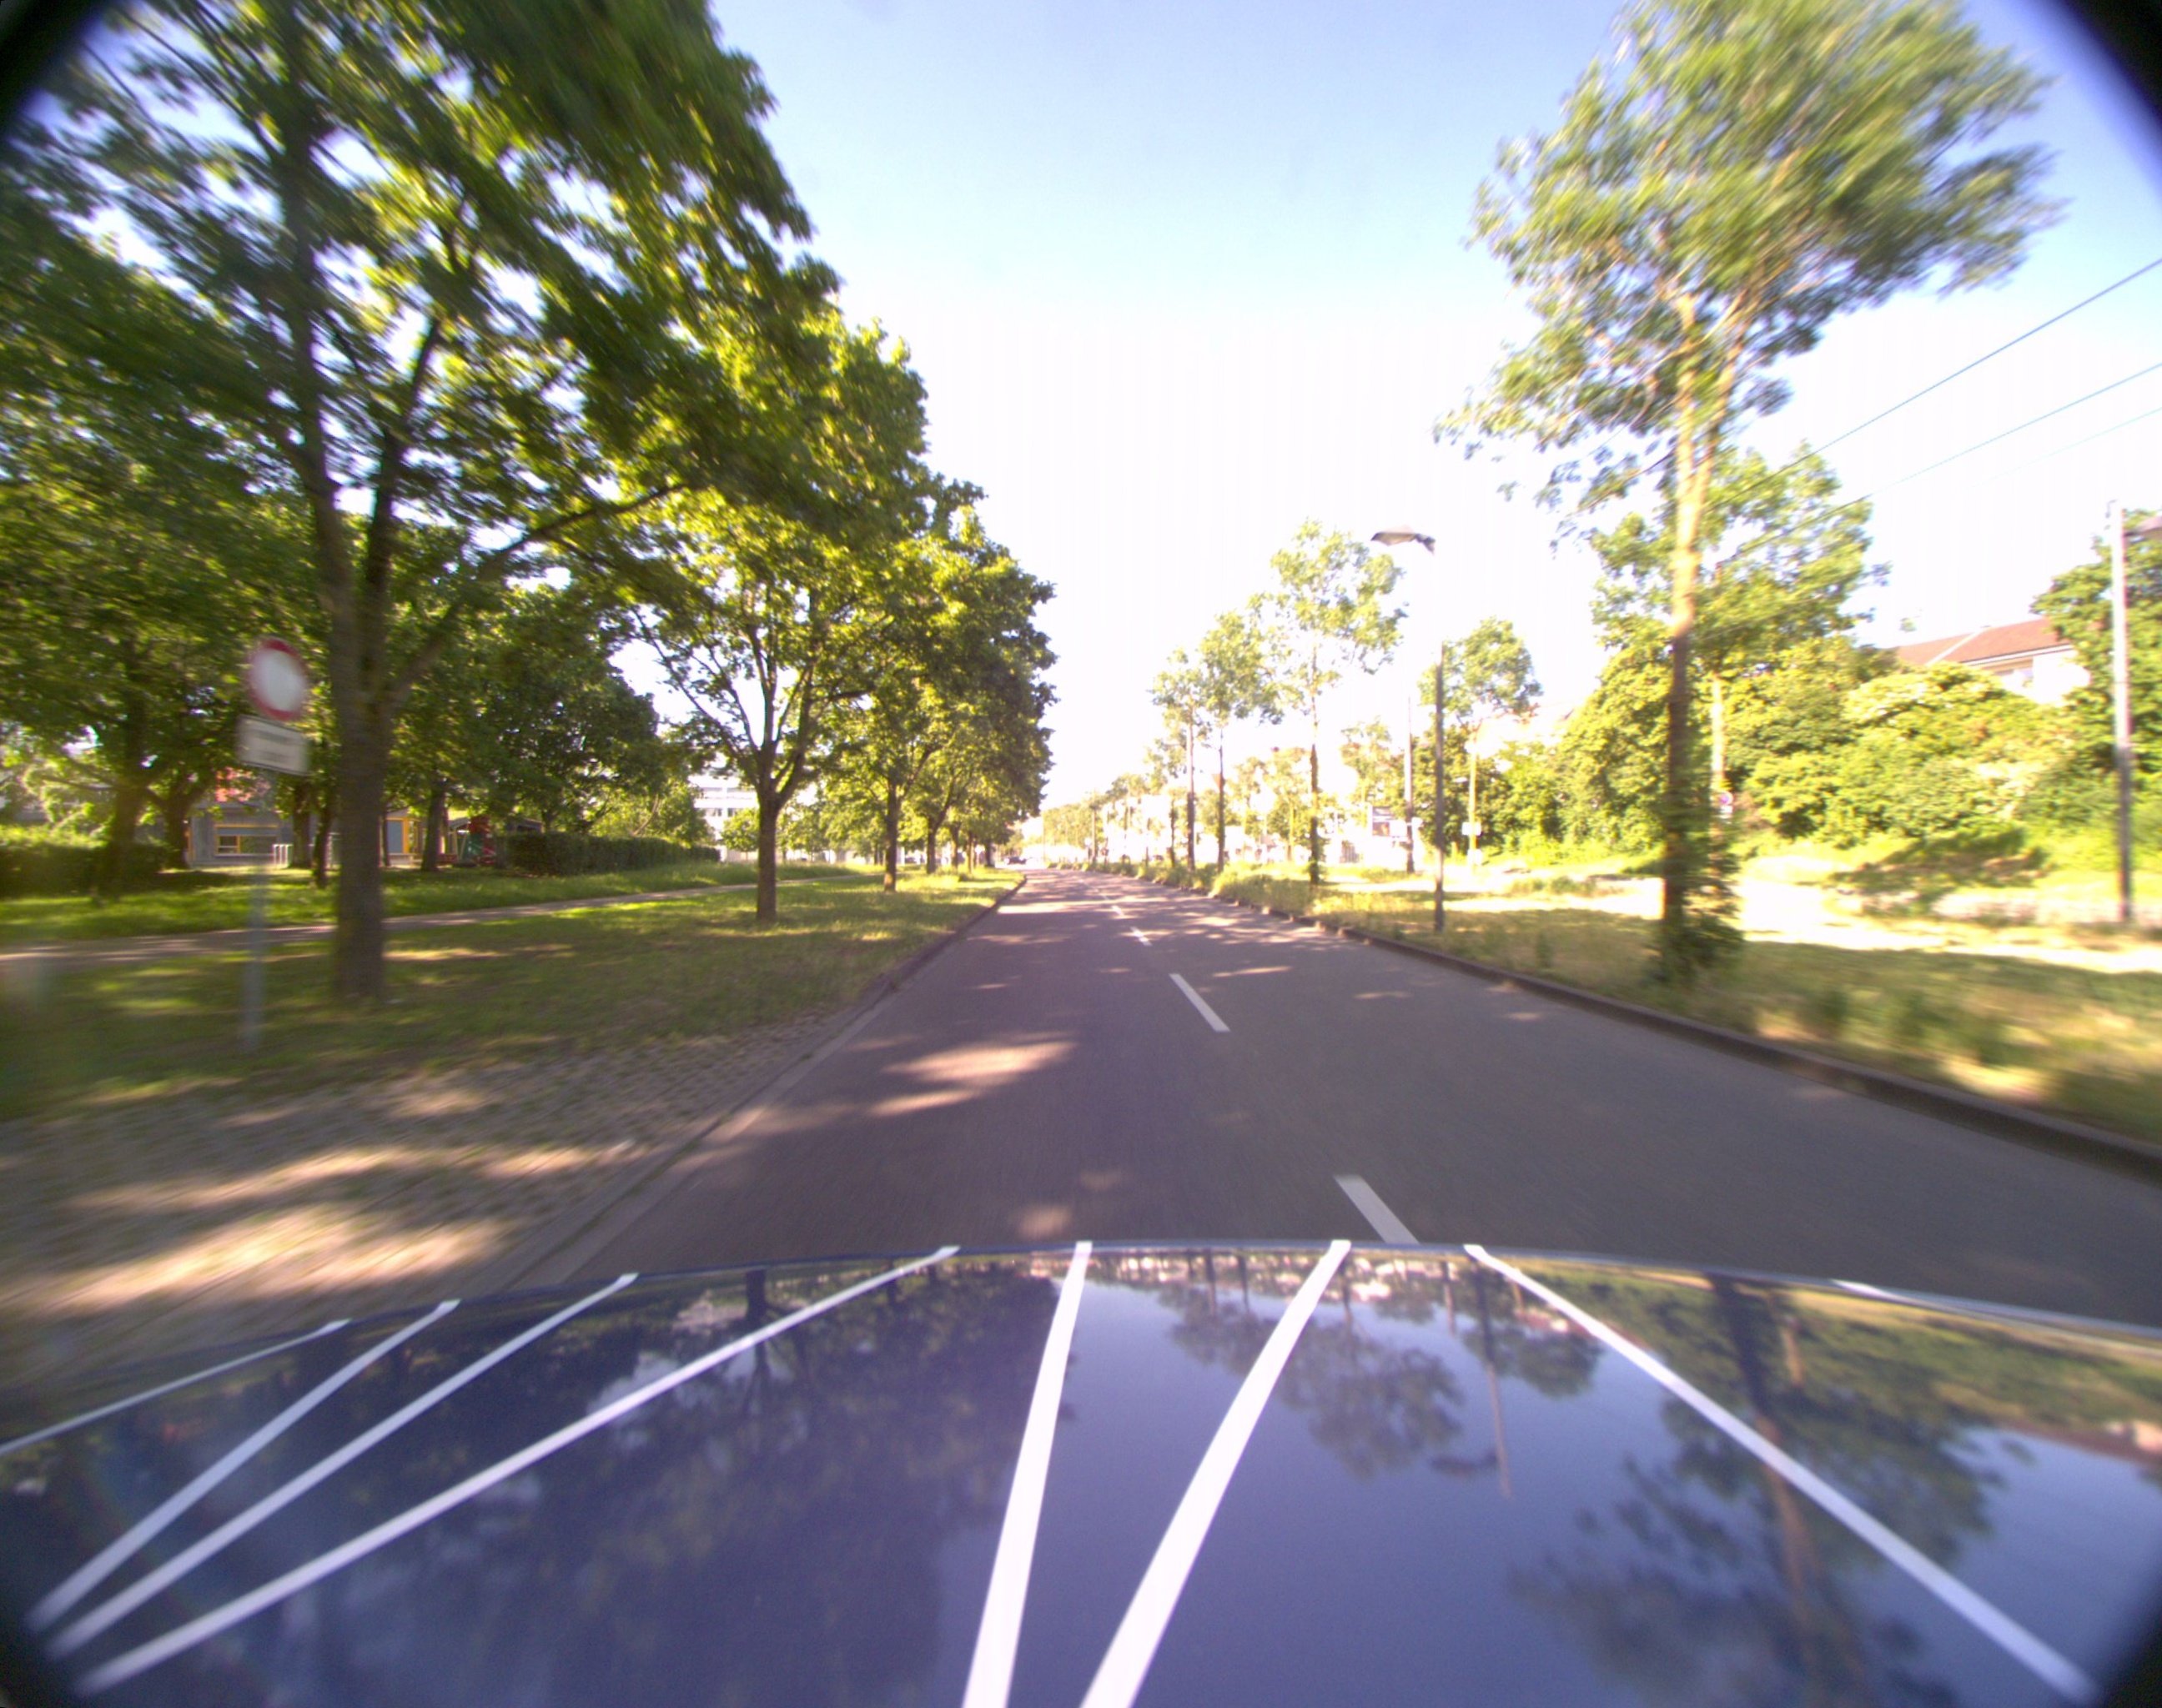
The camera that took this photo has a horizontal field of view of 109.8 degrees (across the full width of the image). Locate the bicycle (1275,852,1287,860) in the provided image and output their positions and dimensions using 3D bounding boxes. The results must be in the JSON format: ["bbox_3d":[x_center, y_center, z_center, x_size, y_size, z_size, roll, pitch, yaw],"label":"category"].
[{"bbox_3d":[30.328,0.338,115.288,0.720,1.205,2.549,0,0,-14],"label":"bicycle"}]

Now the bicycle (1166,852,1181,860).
[{"bbox_3d":[16.273,0.370,133.530,2.582,1.302,0.662,0,0,-15],"label":"bicycle"}]

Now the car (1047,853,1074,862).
[{"bbox_3d":[-3.554,0.650,132.221,4.193,1.457,2.330,0,0,-21],"label":"car"}]

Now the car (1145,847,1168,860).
[{"bbox_3d":[10.914,-0.106,110.135,1.826,1.630,4.486,-1,-3,-13],"label":"car"}]

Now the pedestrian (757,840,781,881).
[{"bbox_3d":[-13.828,0.293,33.696,0.717,1.793,0.793,-1,1,-3],"label":"pedestrian"}]

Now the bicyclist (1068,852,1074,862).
[{"bbox_3d":[-1.560,0.489,115.553,0.715,1.591,0.849,0,0,-13],"label":"bicyclist"}]

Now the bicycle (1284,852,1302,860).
[{"bbox_3d":[31.793,0.346,113.800,2.553,1.205,0.718,0,0,-14],"label":"bicycle"}]
